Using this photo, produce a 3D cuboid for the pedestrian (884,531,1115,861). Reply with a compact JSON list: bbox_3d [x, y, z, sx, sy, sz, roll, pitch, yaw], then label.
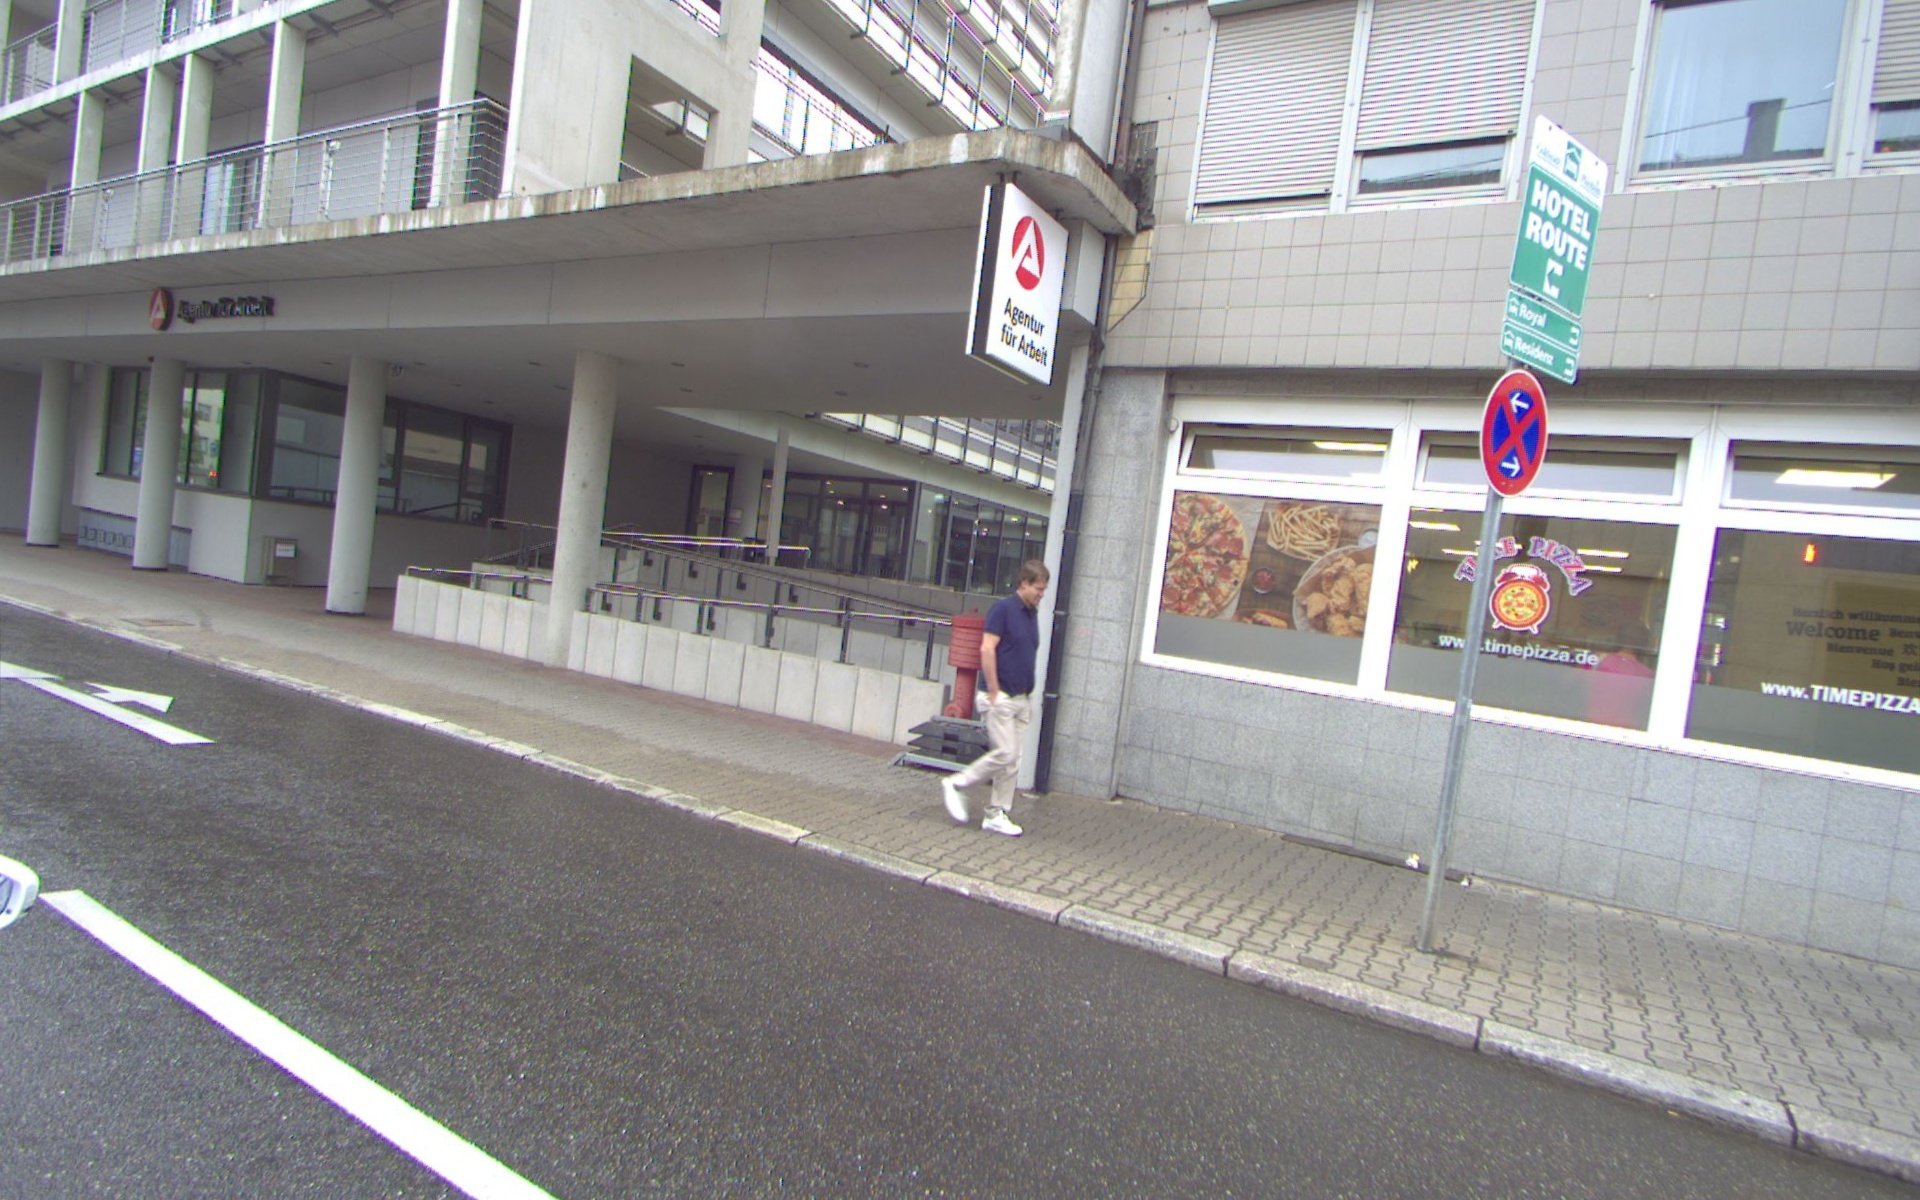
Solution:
[{"bbox_3d":[0.259,0.549,6.544,1.101,1.893,0.868,6,5,32],"label":"pedestrian"}]
